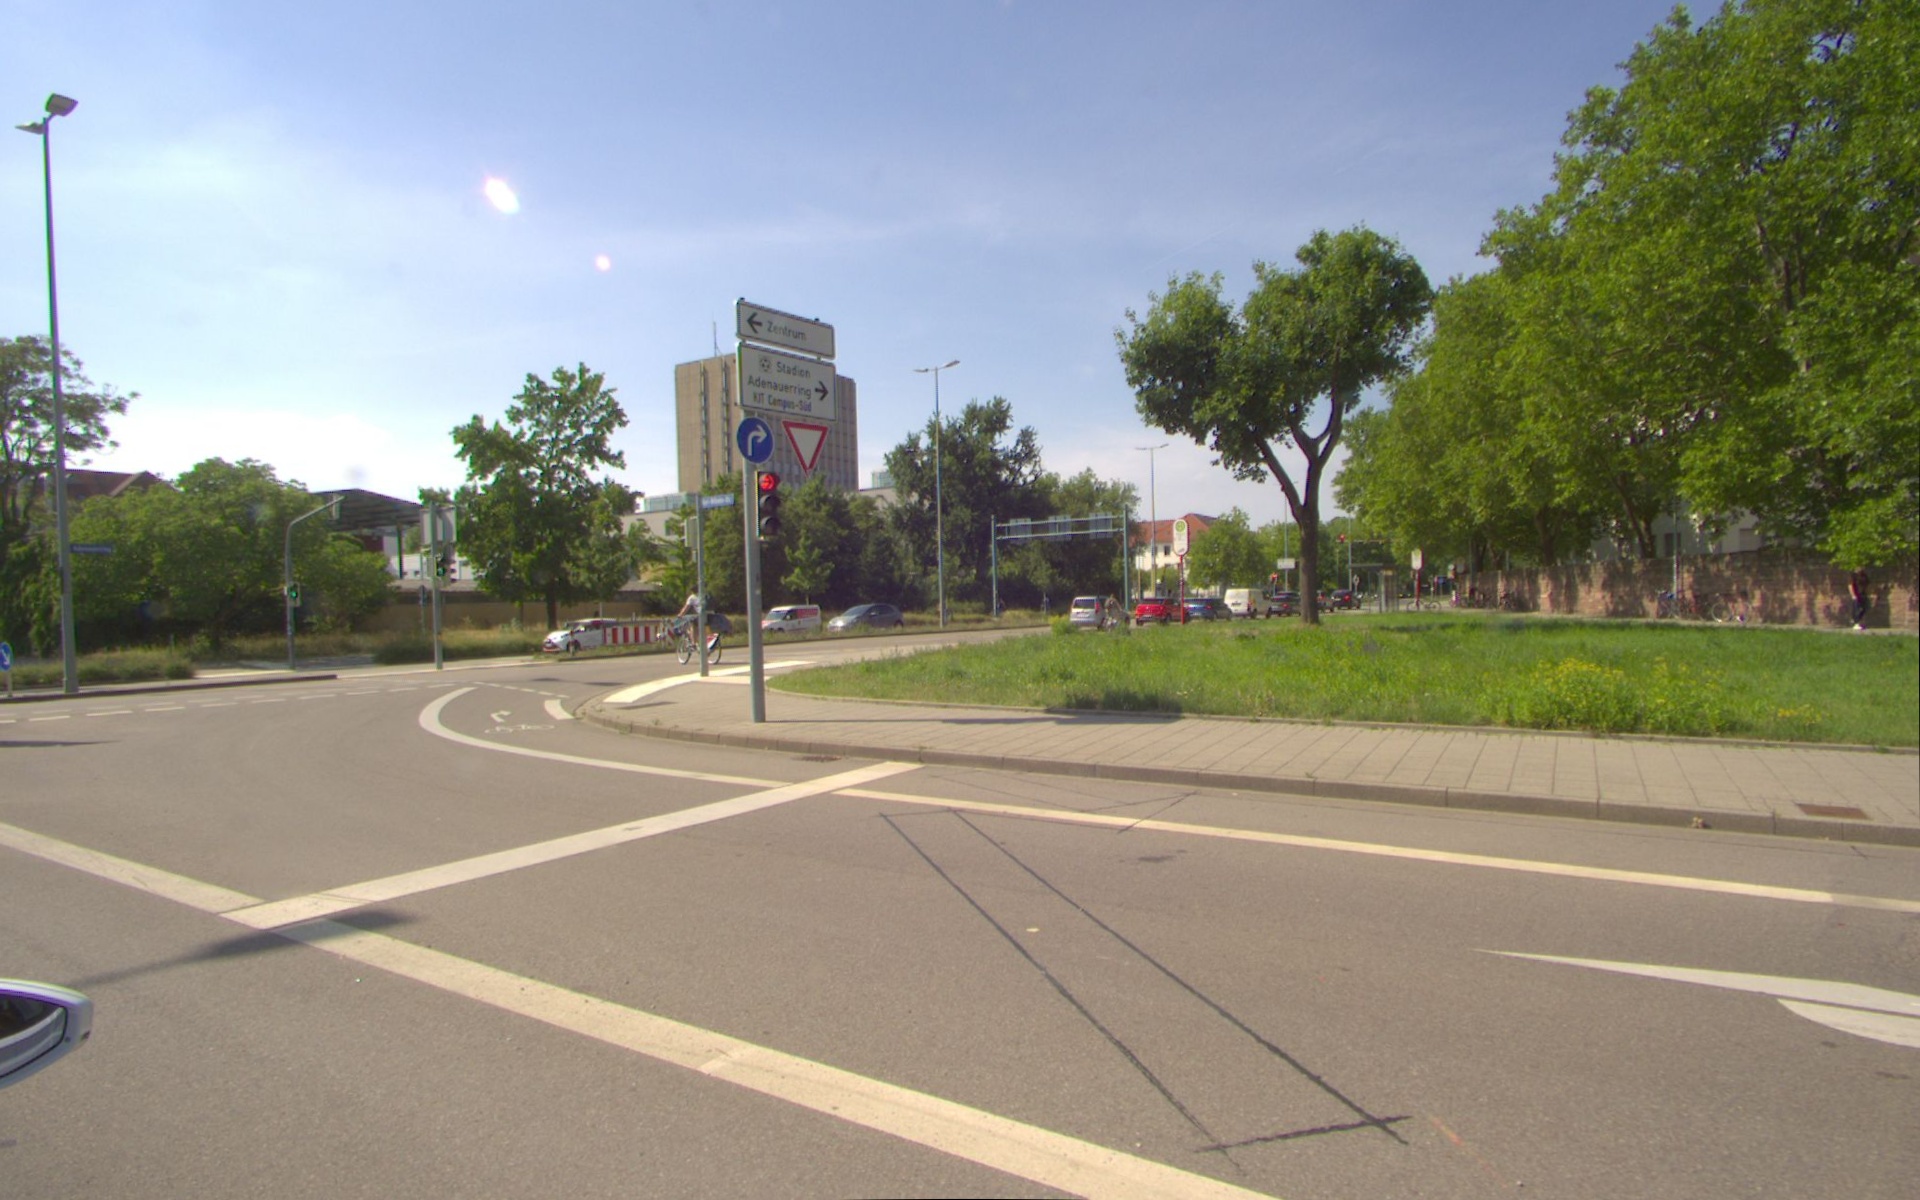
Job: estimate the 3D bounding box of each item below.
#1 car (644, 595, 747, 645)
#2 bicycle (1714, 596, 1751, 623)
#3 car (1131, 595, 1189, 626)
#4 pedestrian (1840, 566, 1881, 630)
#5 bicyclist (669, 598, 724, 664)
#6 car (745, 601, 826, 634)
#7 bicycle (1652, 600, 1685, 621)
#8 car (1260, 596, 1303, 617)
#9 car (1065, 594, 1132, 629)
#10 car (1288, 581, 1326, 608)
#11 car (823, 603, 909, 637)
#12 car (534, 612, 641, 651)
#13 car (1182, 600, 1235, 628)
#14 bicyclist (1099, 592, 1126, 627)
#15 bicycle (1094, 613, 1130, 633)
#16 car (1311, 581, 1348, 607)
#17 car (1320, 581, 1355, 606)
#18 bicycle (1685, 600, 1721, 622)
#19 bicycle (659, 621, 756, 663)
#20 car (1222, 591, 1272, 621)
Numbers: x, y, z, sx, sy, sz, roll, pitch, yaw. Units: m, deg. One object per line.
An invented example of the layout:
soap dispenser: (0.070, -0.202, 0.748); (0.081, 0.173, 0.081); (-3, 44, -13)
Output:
car: (-11.706, 0.866, 44.491); (1.976, 2.040, 3.971); (-3, -1, 37)
bicycle: (25.948, 0.314, 33.665); (0.365, 0.867, 1.307); (-1, 1, 7)
car: (10.706, 0.560, 53.433); (1.727, 1.528, 3.978); (-1, 1, 32)
pedestrian: (25.084, -0.054, 27.889); (0.608, 1.763, 0.599); (-1, 1, 3)
bicyclist: (-6.121, 0.718, 23.261); (1.123, 1.489, 0.495); (-2, -1, 19)
car: (-9.304, 0.918, 53.663); (1.883, 1.590, 4.300); (-1, 1, 32)
bicycle: (26.001, 0.389, 36.751); (0.334, 0.738, 1.364); (-1, 1, 5)
car: (22.750, 0.457, 70.806); (1.729, 1.357, 3.973); (-1, 1, 36)
car: (6.678, 0.537, 48.008); (1.727, 1.528, 3.978); (-1, 1, 32)
car: (27.266, -0.427, 78.559); (1.972, 2.040, 3.977); (-1, 1, 32)
car: (-4.349, 0.920, 46.737); (1.619, 1.424, 4.080); (-3, -1, 37)
car: (-16.209, 1.342, 43.740); (1.972, 1.483, 3.978); (-2, 0, 32)
car: (14.793, 0.813, 59.557); (1.729, 1.493, 3.973); (-1, 1, 36)
bicyclist: (6.599, 0.400, 43.336); (0.558, 1.494, 1.158); (0, 1, 44)
bicycle: (6.577, 0.970, 43.322); (0.554, 0.803, 1.878); (1, 2, 44)
car: (30.467, -0.516, 82.592); (1.973, 2.040, 3.976); (-1, 1, 34)
car: (32.136, -0.582, 85.208); (1.973, 2.040, 3.976); (-1, 1, 34)
bicycle: (26.016, 0.379, 35.090); (0.334, 0.738, 1.364); (-1, 1, 5)
bicycle: (-5.862, 0.972, 23.226); (2.131, 0.928, 0.673); (-1, 1, 19)
car: (18.659, 0.370, 64.928); (1.729, 1.781, 4.402); (-1, 1, 36)
